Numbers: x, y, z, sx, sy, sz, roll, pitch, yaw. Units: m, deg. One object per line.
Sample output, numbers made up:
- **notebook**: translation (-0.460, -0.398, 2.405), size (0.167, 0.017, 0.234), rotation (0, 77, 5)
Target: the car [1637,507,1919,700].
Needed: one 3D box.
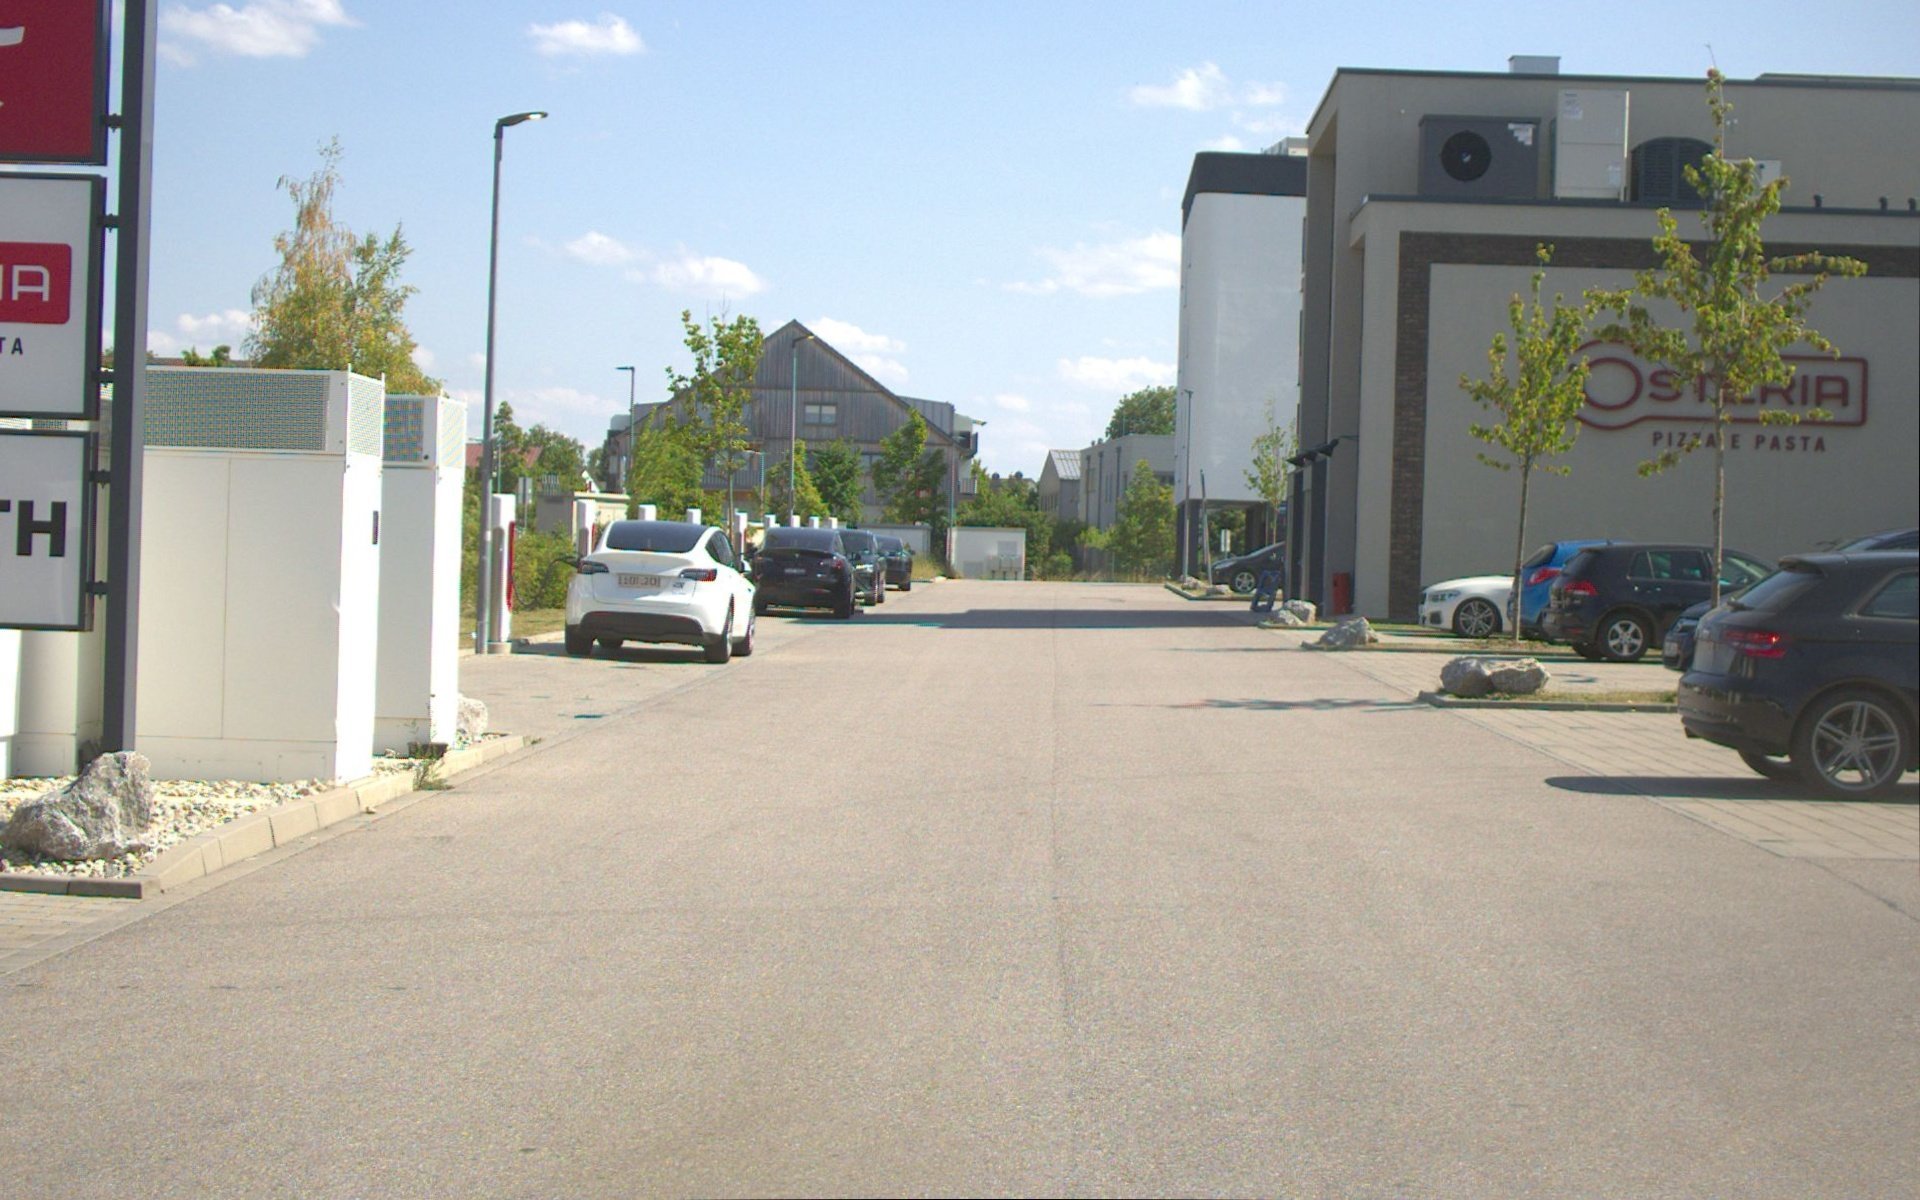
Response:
- **car**: translation (8.691, 0.047, 31.985), size (4.369, 1.679, 1.642), rotation (2, 1, -3)

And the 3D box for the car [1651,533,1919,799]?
- **car**: translation (6.303, 0.402, 19.959), size (4.200, 1.436, 1.698), rotation (2, 1, 1)

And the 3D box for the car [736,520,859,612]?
- **car**: translation (-2.931, -0.637, 62.835), size (1.945, 1.563, 4.000), rotation (2, 1, 1)

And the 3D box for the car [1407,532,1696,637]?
- **car**: translation (8.857, -0.240, 51.650), size (3.986, 1.415, 1.651), rotation (2, 1, -2)

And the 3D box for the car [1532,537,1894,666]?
- **car**: translation (9.153, 0.002, 41.968), size (3.986, 1.415, 1.651), rotation (2, 1, -2)

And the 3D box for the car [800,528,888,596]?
- **car**: translation (-2.502, -0.841, 74.621), size (1.742, 1.382, 4.000), rotation (2, 1, 0)

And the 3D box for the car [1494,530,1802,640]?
- **car**: translation (9.768, -0.227, 48.987), size (3.986, 1.415, 1.651), rotation (2, 1, -2)

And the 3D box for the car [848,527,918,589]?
- **car**: translation (-2.033, -1.136, 91.673), size (1.742, 1.563, 4.000), rotation (2, 1, 0)

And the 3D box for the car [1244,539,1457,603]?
- **car**: translation (7.740, -0.591, 68.416), size (3.987, 1.152, 2.000), rotation (1, 1, 0)

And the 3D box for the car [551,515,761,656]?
- **car**: translation (-3.603, -0.206, 41.403), size (1.945, 1.563, 4.000), rotation (2, 1, 3)
